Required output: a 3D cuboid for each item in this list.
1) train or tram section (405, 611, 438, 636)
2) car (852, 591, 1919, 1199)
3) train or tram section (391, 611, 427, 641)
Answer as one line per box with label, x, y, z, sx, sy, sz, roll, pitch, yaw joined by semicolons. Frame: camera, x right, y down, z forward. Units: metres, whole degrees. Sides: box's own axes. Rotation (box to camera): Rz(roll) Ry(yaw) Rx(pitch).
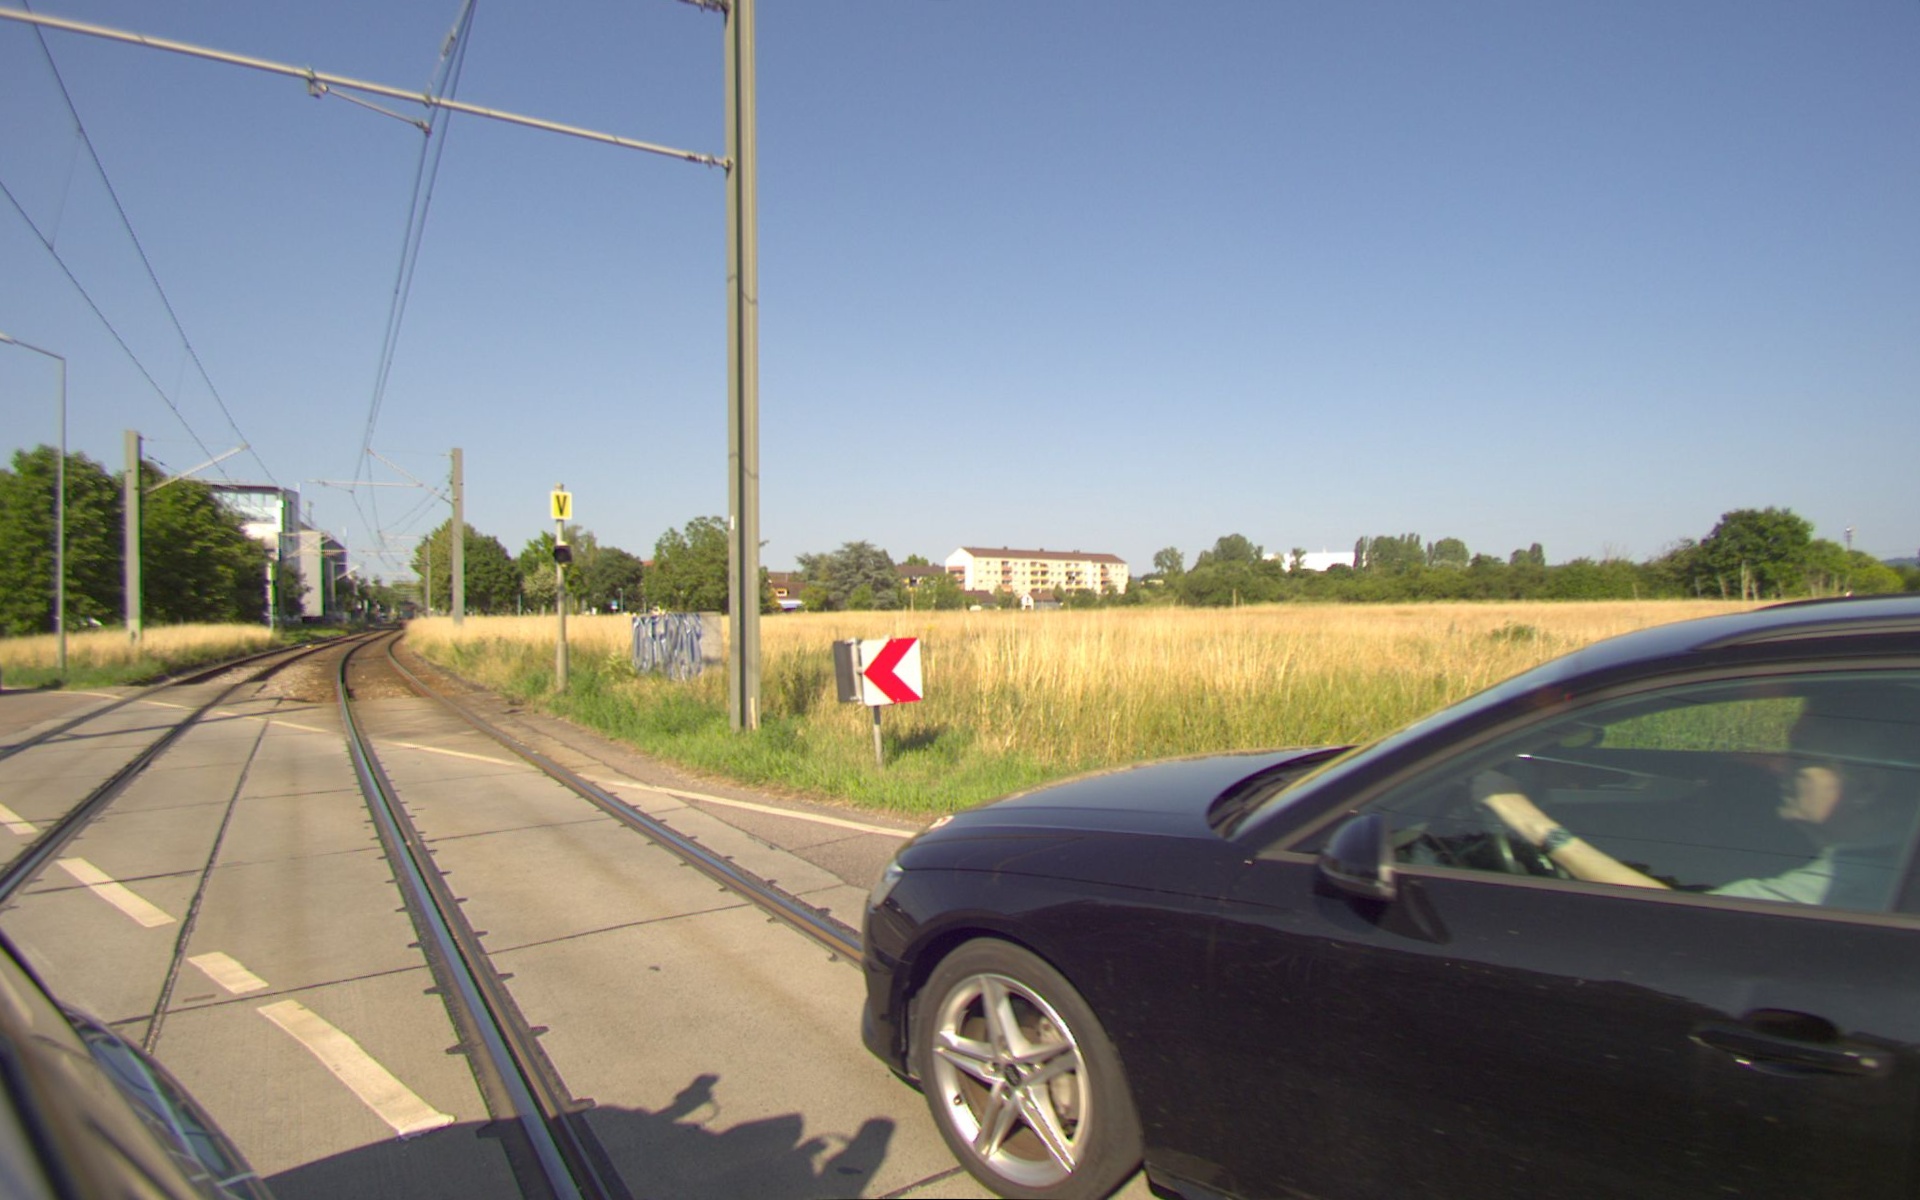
train or tram section;-83.364;3.555;156.818;2.876;3.480;12.205;-2;1;-21
car;1.897;0.721;1.846;4.281;1.450;1.675;-2;0;41
train or tram section;-78.583;3.624;144.494;2.865;3.595;14.309;-2;1;-22
